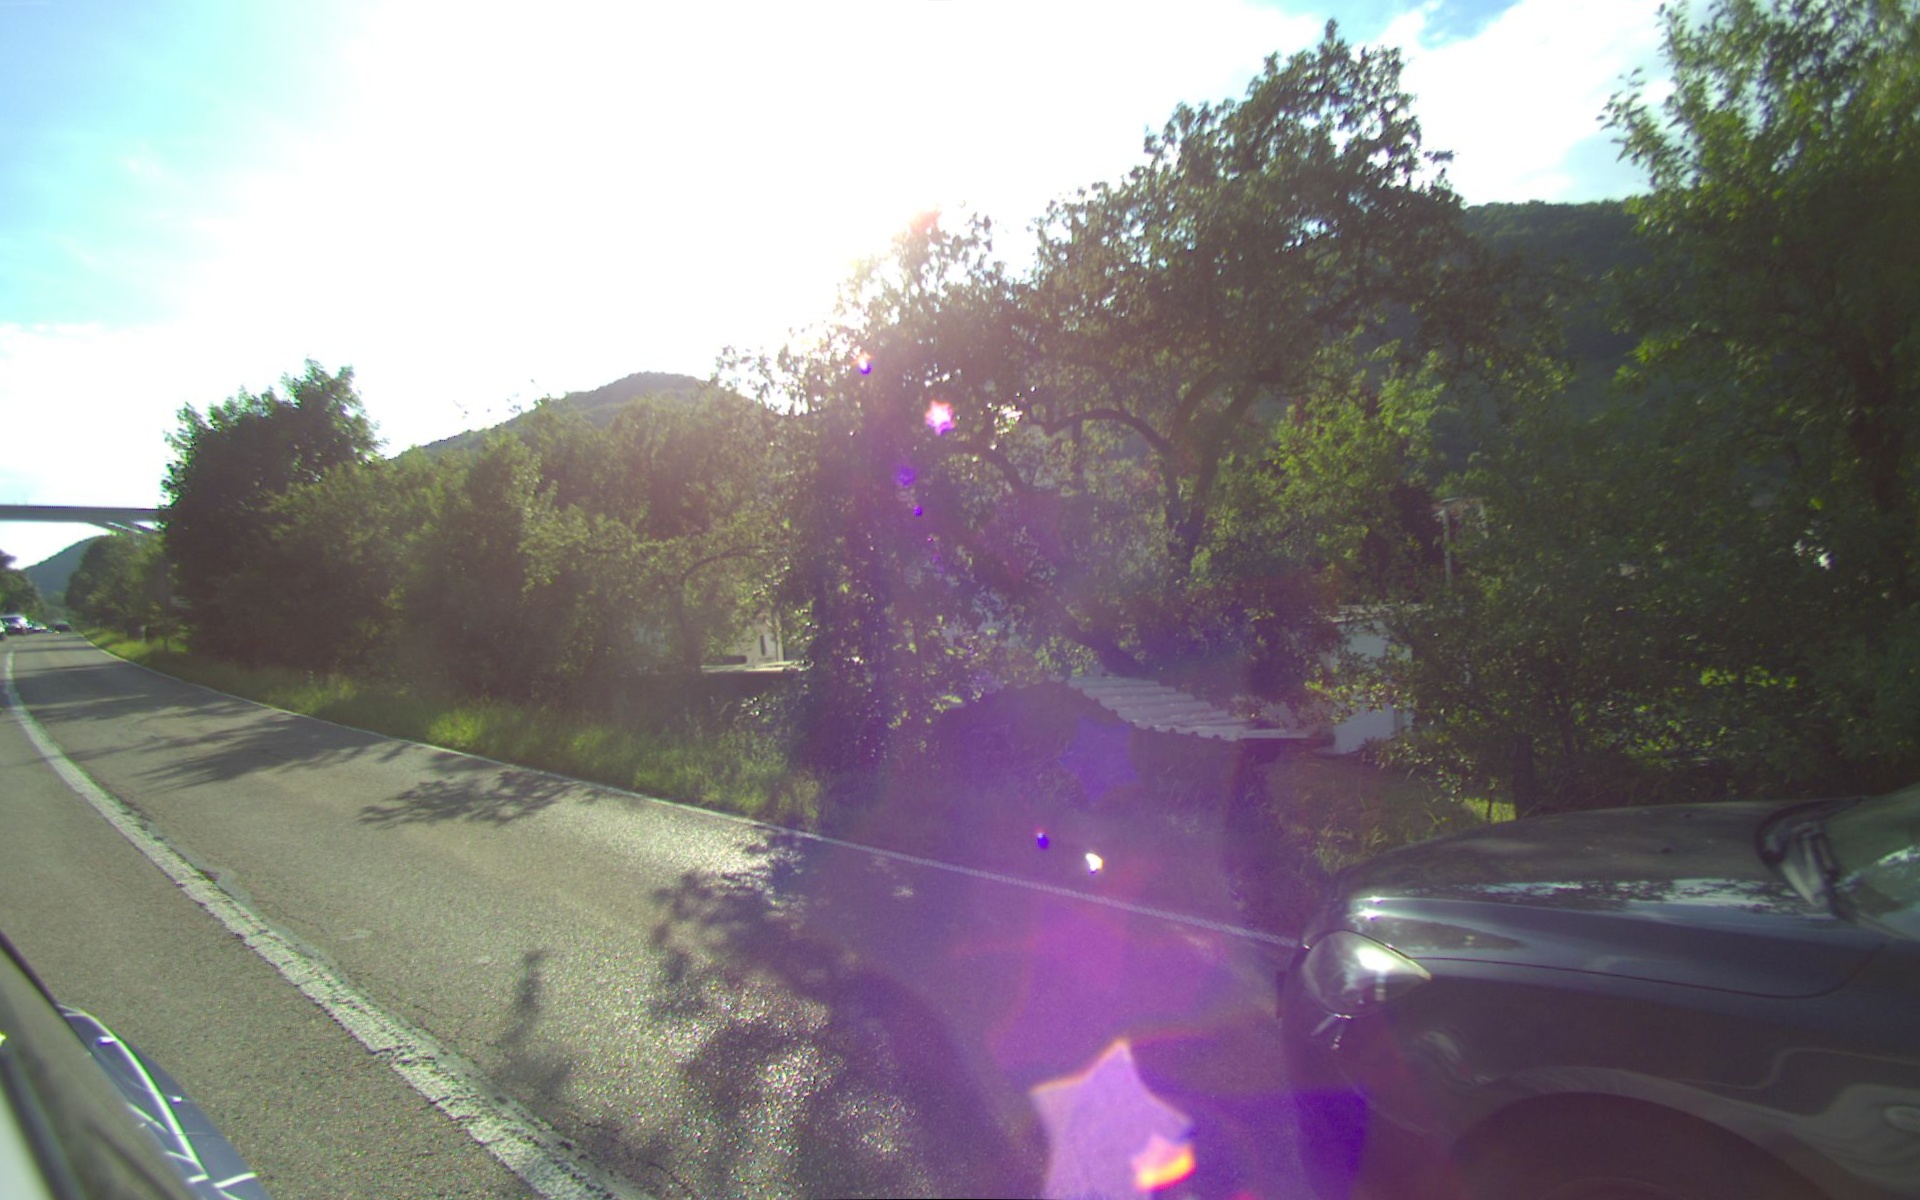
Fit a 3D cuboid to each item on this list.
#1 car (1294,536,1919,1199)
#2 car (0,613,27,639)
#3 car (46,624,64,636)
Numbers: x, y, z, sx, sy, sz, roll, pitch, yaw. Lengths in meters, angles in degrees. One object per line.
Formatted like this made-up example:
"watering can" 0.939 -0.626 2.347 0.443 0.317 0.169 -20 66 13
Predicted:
"car" 2.716 0.616 1.246 4.048 1.441 1.686 -1 0 41
"car" -79.089 2.136 84.226 1.970 2.029 4.003 -1 0 -44
"car" -116.095 3.825 129.798 1.574 1.364 4.210 -1 0 -40
